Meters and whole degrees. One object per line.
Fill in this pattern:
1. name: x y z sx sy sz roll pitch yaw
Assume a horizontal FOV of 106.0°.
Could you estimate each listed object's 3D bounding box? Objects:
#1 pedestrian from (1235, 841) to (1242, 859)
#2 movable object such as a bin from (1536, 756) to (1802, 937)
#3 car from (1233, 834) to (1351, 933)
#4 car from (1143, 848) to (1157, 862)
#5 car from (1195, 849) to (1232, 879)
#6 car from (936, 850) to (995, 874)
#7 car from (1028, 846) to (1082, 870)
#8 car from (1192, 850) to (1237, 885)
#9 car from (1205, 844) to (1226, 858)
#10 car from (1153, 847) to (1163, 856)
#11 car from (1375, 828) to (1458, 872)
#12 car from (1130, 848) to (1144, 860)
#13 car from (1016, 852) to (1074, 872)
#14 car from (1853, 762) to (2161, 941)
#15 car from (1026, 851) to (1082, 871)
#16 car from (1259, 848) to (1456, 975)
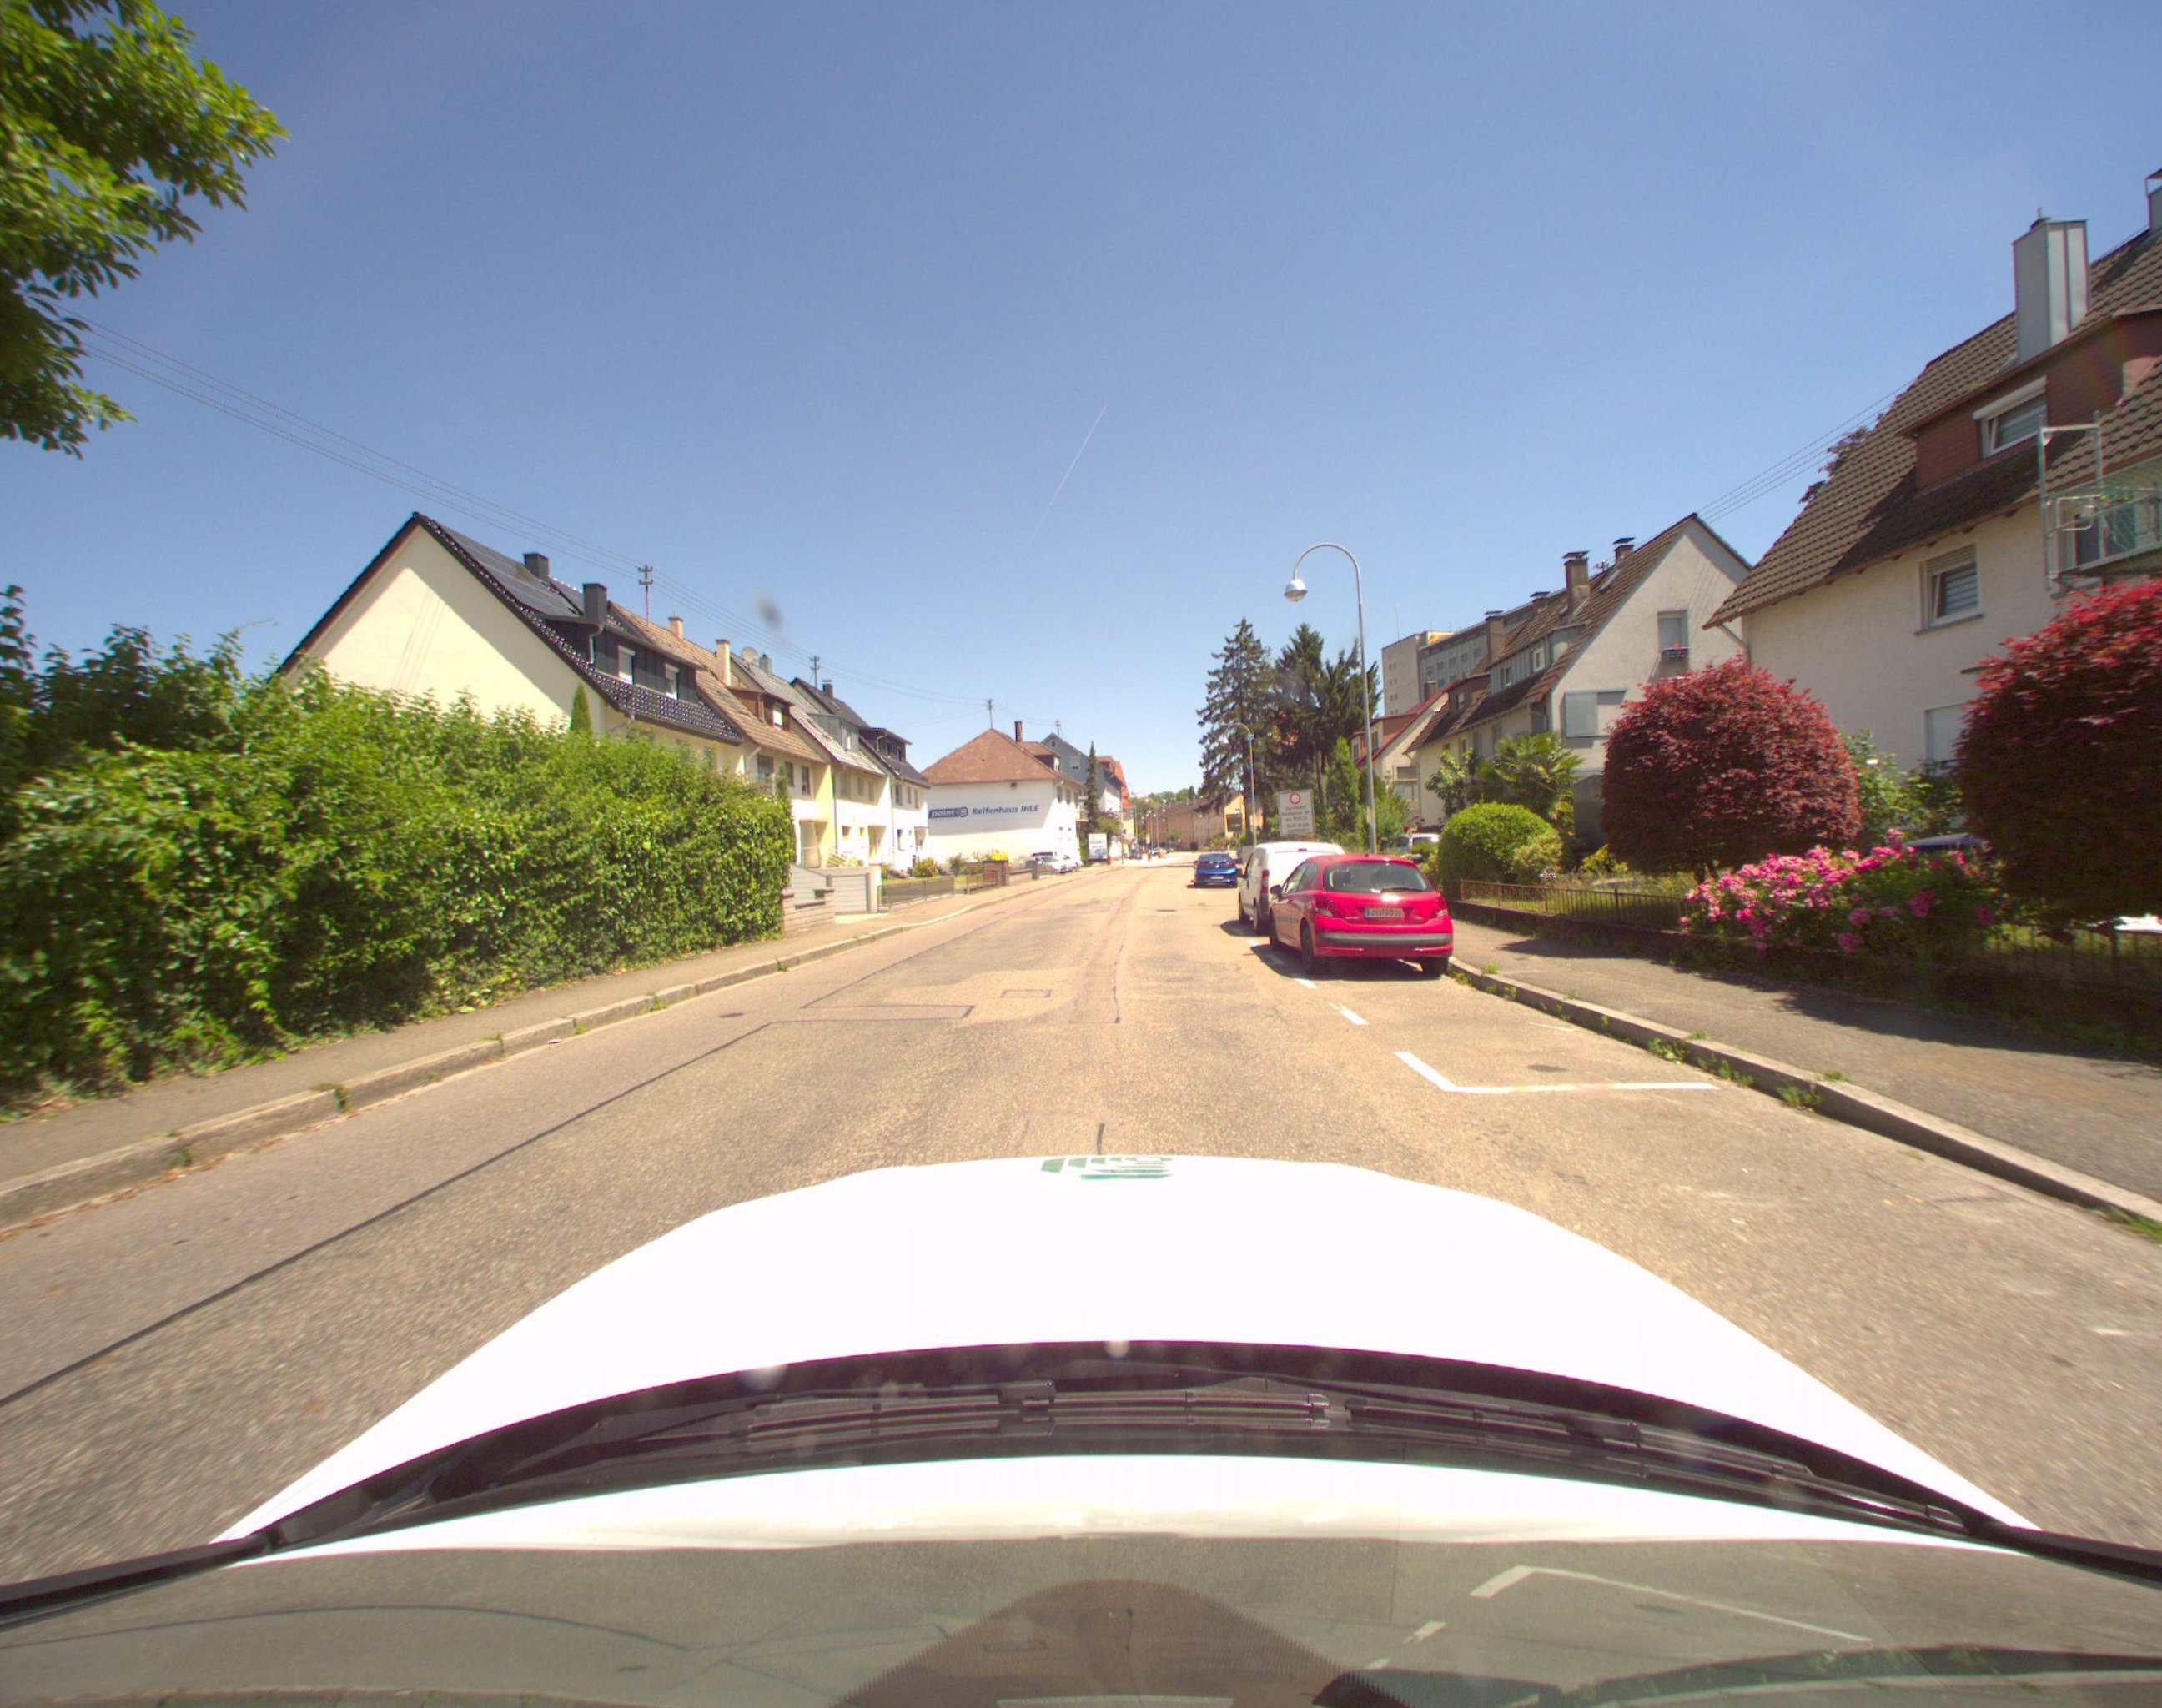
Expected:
1. pedestrian: 16.243 -0.393 83.856 0.684 1.770 0.694 -1 -2 13
2. movable object such as a bin: 9.622 -0.119 13.521 3.134 2.747 1.708 -1 0 1
3. car: 4.113 0.533 16.430 1.656 1.755 4.005 0 -1 5
4. car: 9.099 0.144 107.425 1.748 1.656 4.008 -2 1 6
5. car: 6.781 0.479 42.022 1.716 1.419 4.022 0 0 7
6. car: -7.861 0.515 55.145 3.949 1.510 1.811 -1 1 43
7. car: -2.087 0.333 65.822 4.112 1.774 1.830 -2 0 2
8. car: 5.749 0.556 35.396 1.768 1.405 4.295 0 0 7
9. car: 14.515 -0.340 87.932 1.781 1.510 4.017 -1 1 15
10. car: 14.396 -0.443 152.836 1.589 1.606 3.411 -1 0 1
11. car: 13.042 -0.147 31.944 1.786 1.569 4.004 -2 0 4
12. car: 7.996 -0.015 115.418 1.748 1.656 4.007 -1 0 6
13. car: -2.683 0.633 60.379 4.089 1.343 1.923 -2 1 41
14. car: 10.058 -0.094 7.640 1.788 1.510 4.000 -4 1 0
15. car: -2.062 0.545 63.398 4.108 1.394 1.832 -2 0 6
16. car: 3.626 0.662 11.405 1.656 1.455 4.004 0 0 4
